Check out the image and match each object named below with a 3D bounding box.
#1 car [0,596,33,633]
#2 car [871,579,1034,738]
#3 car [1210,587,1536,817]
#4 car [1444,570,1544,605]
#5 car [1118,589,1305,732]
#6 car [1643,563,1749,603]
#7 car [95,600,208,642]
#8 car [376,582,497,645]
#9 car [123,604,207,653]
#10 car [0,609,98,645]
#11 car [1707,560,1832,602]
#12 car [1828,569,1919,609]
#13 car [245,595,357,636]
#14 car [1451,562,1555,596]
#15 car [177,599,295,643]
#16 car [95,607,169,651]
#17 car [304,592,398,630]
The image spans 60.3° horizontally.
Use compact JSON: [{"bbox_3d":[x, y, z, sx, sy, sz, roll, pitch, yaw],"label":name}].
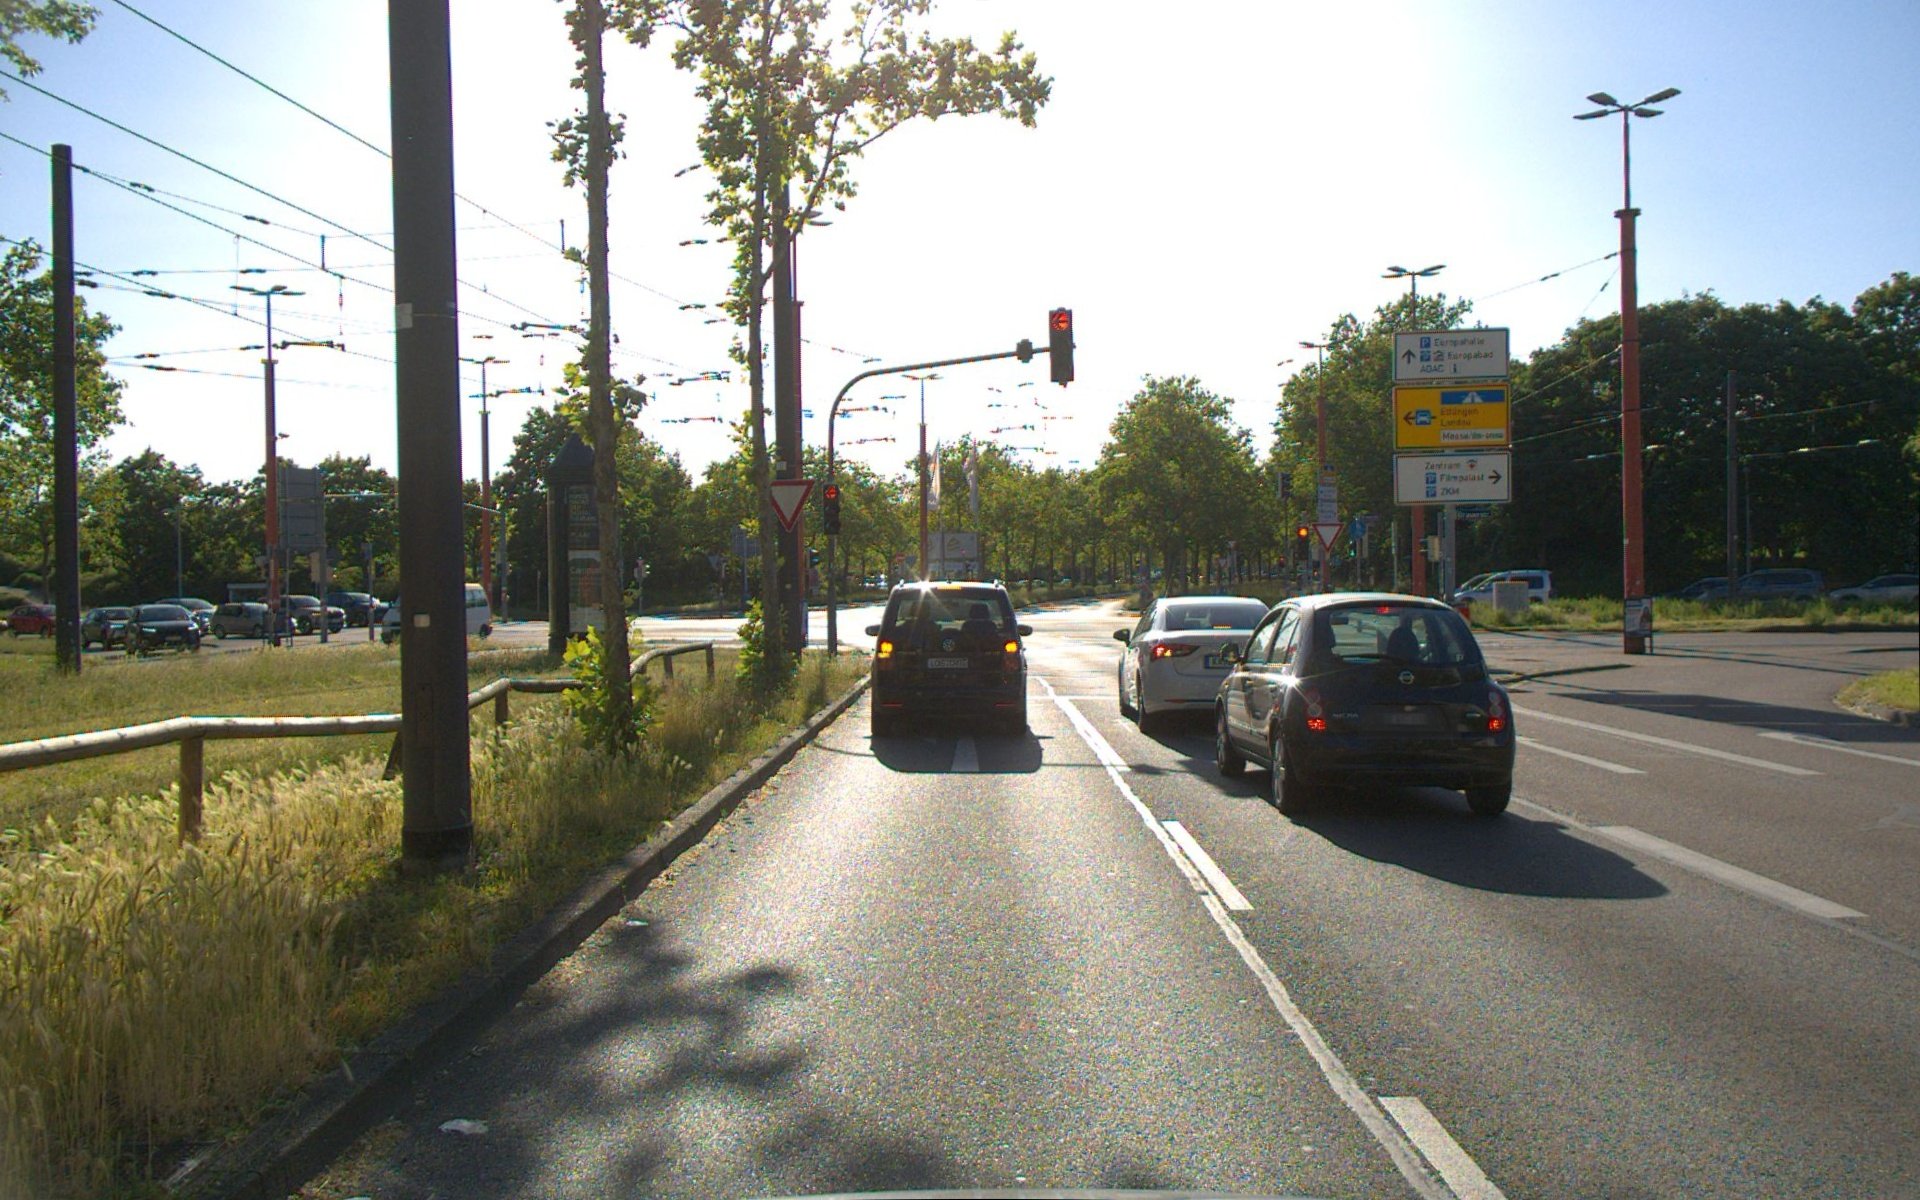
[{"bbox_3d":[-47.396,0.695,80.113,4.391,1.638,1.901,0,3,19],"label":"car"},{"bbox_3d":[-0.099,0.608,18.849,1.675,1.631,3.349,0,0,-1],"label":"car"},{"bbox_3d":[3.030,0.672,12.819,1.605,1.520,3.503,0,1,-1],"label":"car"},{"bbox_3d":[23.068,-0.527,71.463,3.908,1.502,1.788,0,0,26],"label":"car"},{"bbox_3d":[2.828,0.638,19.384,1.644,1.501,4.131,0,0,1],"label":"car"},{"bbox_3d":[30.110,-0.679,67.667,3.909,1.588,1.897,0,0,27],"label":"car"},{"bbox_3d":[-35.927,0.920,73.531,4.391,1.638,1.901,-1,2,19],"label":"car"},{"bbox_3d":[-15.842,0.384,50.311,1.784,1.811,4.570,0,0,7],"label":"car"},{"bbox_3d":[-26.948,0.940,55.989,1.878,1.570,4.445,0,0,-35],"label":"car"},{"bbox_3d":[-41.854,1.250,75.919,3.950,1.461,1.816,-1,2,19],"label":"car"},{"bbox_3d":[31.142,-0.715,63.774,4.265,1.586,1.871,0,0,25],"label":"car"},{"bbox_3d":[36.148,-0.434,64.598,3.909,1.521,1.859,0,0,27],"label":"car"},{"bbox_3d":[-29.240,0.681,73.388,4.391,1.638,1.901,-1,2,19],"label":"car"},{"bbox_3d":[22.416,-0.855,68.313,3.909,1.361,1.727,0,0,26],"label":"car"},{"bbox_3d":[-30.666,0.892,70.084,4.391,1.638,1.901,-1,2,19],"label":"car"},{"bbox_3d":[-31.237,1.062,62.363,1.878,1.570,4.445,0,0,-35],"label":"car"},{"bbox_3d":[-29.545,0.542,80.311,3.903,1.649,1.901,-1,2,19],"label":"car"}]
